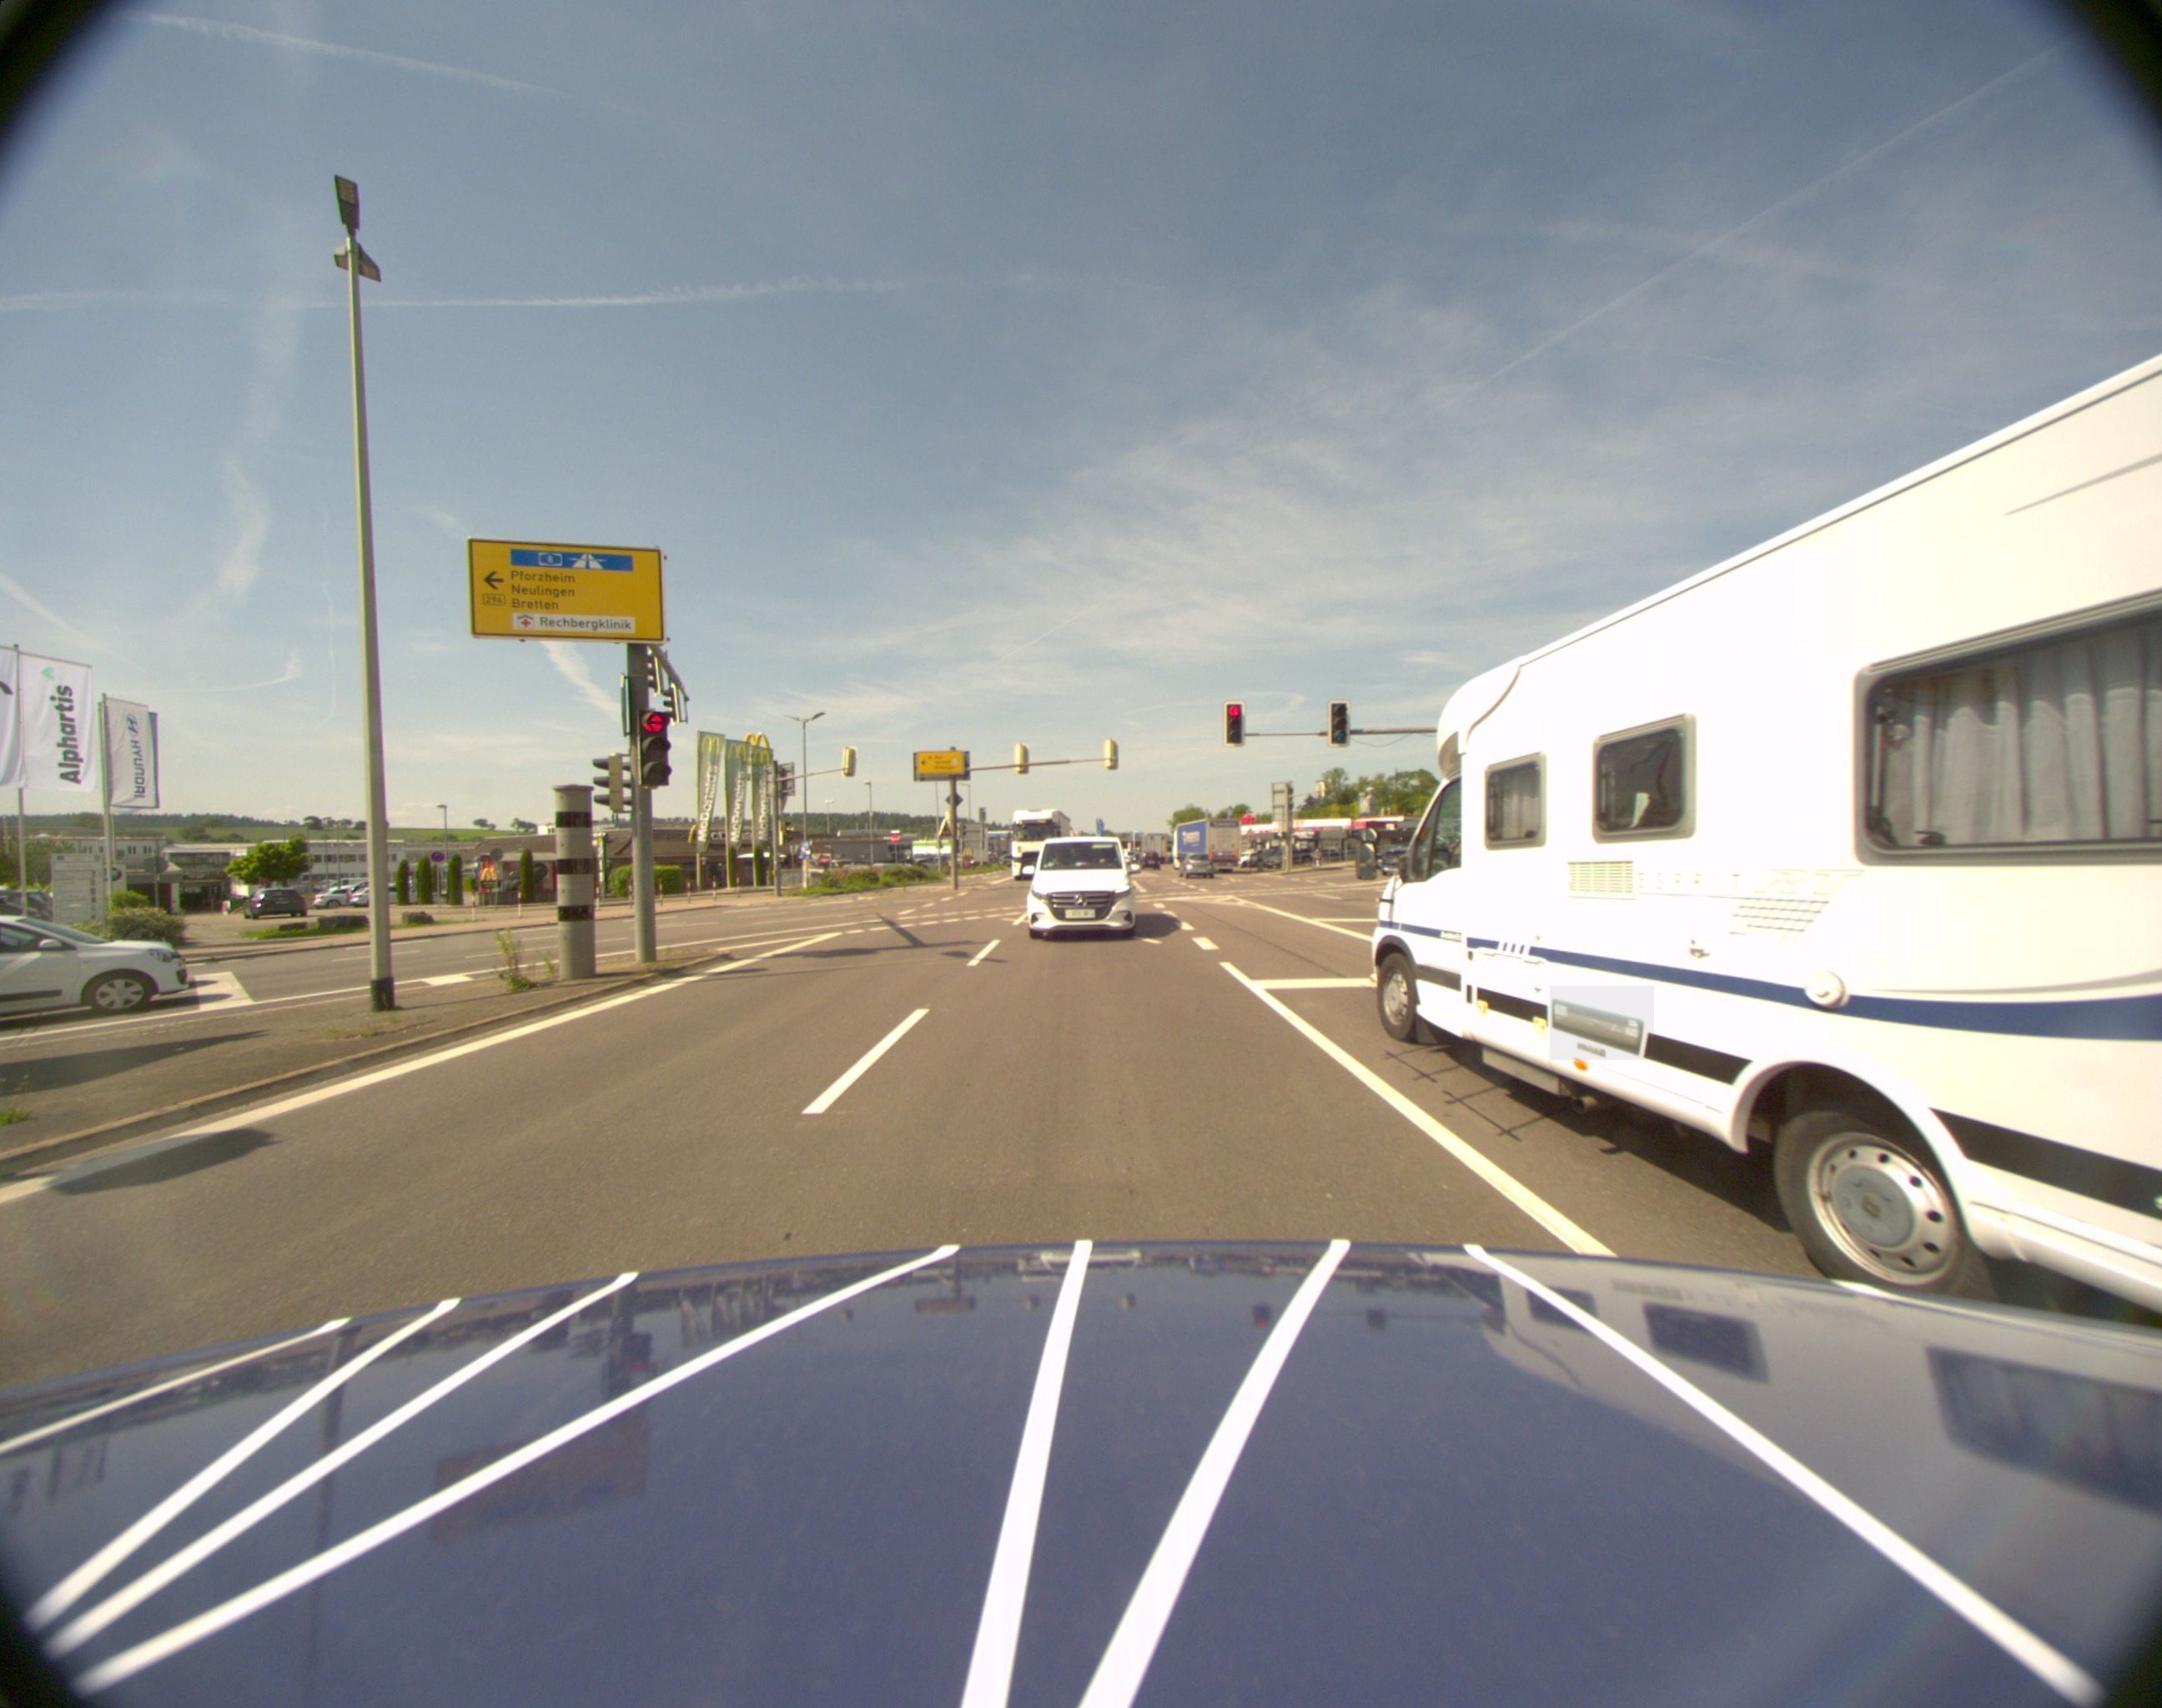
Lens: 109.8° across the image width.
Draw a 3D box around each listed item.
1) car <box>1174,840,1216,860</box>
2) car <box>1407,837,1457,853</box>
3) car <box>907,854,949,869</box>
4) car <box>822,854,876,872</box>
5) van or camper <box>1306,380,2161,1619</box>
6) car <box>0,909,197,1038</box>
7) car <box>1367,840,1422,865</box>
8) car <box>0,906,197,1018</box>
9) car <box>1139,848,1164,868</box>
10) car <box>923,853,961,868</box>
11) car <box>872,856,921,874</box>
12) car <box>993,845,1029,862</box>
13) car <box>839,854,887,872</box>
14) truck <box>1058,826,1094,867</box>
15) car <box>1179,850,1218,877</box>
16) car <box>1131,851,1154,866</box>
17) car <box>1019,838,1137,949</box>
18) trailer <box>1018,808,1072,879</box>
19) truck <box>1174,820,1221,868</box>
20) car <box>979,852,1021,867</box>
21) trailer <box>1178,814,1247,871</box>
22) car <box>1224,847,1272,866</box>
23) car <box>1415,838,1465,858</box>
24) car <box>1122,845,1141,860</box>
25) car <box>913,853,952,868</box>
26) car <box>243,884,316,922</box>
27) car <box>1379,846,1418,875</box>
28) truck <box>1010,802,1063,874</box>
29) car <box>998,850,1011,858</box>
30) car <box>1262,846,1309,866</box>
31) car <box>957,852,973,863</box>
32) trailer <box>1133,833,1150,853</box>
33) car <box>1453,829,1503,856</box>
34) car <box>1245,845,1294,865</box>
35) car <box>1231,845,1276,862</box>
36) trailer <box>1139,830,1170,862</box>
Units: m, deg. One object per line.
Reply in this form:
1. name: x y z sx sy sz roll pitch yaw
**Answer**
1. car: 15.562 -0.566 104.008 5.579 2.757 2.177 0 1 4
2. car: 35.473 -0.895 76.813 2.003 1.554 4.059 -4 3 -41
3. car: -16.271 0.790 80.854 1.744 1.483 4.273 1 1 38
4. car: -22.890 0.844 75.051 1.907 1.661 4.828 1 1 38
5. van or camper: 3.373 0.283 3.680 2.337 2.585 6.977 0 1 -1
6. car: -15.079 1.720 10.419 1.706 1.496 3.762 -2 2 41
7. car: 23.314 -0.118 56.434 4.644 1.519 1.910 -4 2 -42
8. car: -17.934 1.862 12.045 1.994 1.496 5.008 -2 2 41
9. car: 6.314 0.316 68.127 1.998 1.716 4.000 0 1 2
10. car: -15.857 0.719 86.599 4.030 1.661 1.772 0 1 -24
11. car: -17.200 1.005 71.060 1.855 1.567 4.242 1 1 38
12. car: -9.298 -0.051 100.663 4.355 2.200 1.759 0 1 -27
13. car: -21.097 0.858 73.713 1.771 1.661 4.179 1 1 38
14. truck: -0.396 -0.743 77.740 2.646 3.964 9.242 0 1 6
15. car: 6.977 0.549 45.375 1.729 1.493 3.999 1 1 0
16. car: 6.229 0.443 77.424 1.999 1.476 4.453 0 1 -1
17. car: 0.056 0.637 15.734 1.993 1.858 5.803 0 1 2
18. trailer: -2.206 -0.667 50.866 2.613 4.203 11.293 0 1 3
19. truck: 10.265 -0.914 67.473 3.196 4.056 6.344 0 1 0
20. car: -8.985 0.635 84.109 1.969 1.325 4.804 -7 2 -43
21. trailer: 10.253 -0.879 61.226 3.101 4.056 14.124 0 1 0
22. car: 16.325 0.220 74.014 4.724 1.504 1.950 -4 2 -38
23. car: 29.297 -0.502 61.978 4.982 1.411 1.944 -4 4 -42
24. car: 5.941 -0.174 90.385 1.848 1.722 4.588 -2 0 0
25. car: -17.265 0.777 88.571 4.007 1.661 1.916 0 1 -35
26. car: -39.056 2.321 37.002 4.436 1.511 2.004 1 1 38
27. car: 19.314 0.358 46.126 1.995 1.667 4.314 0 1 24
28. truck: -2.494 -0.899 44.544 2.647 3.964 6.041 0 1 1
29. car: -15.250 -0.057 151.249 1.773 1.571 4.150 0 1 8
30. car: 18.904 0.167 70.166 4.750 1.617 1.885 -4 2 -41
31. car: -17.738 0.524 116.286 1.907 1.645 4.709 0 1 -1
32. trailer: 12.309 -2.188 155.019 2.727 3.975 12.234 0 1 2
33. car: 34.697 -1.045 66.303 5.524 2.030 2.062 -4 2 -42
34. car: 17.989 0.113 72.388 4.805 1.617 1.927 -4 3 -39
35. car: 18.883 -0.061 83.150 1.896 1.738 4.457 -2 0 -41
36. trailer: 10.071 -1.139 105.631 2.699 4.124 13.875 0 1 -1
